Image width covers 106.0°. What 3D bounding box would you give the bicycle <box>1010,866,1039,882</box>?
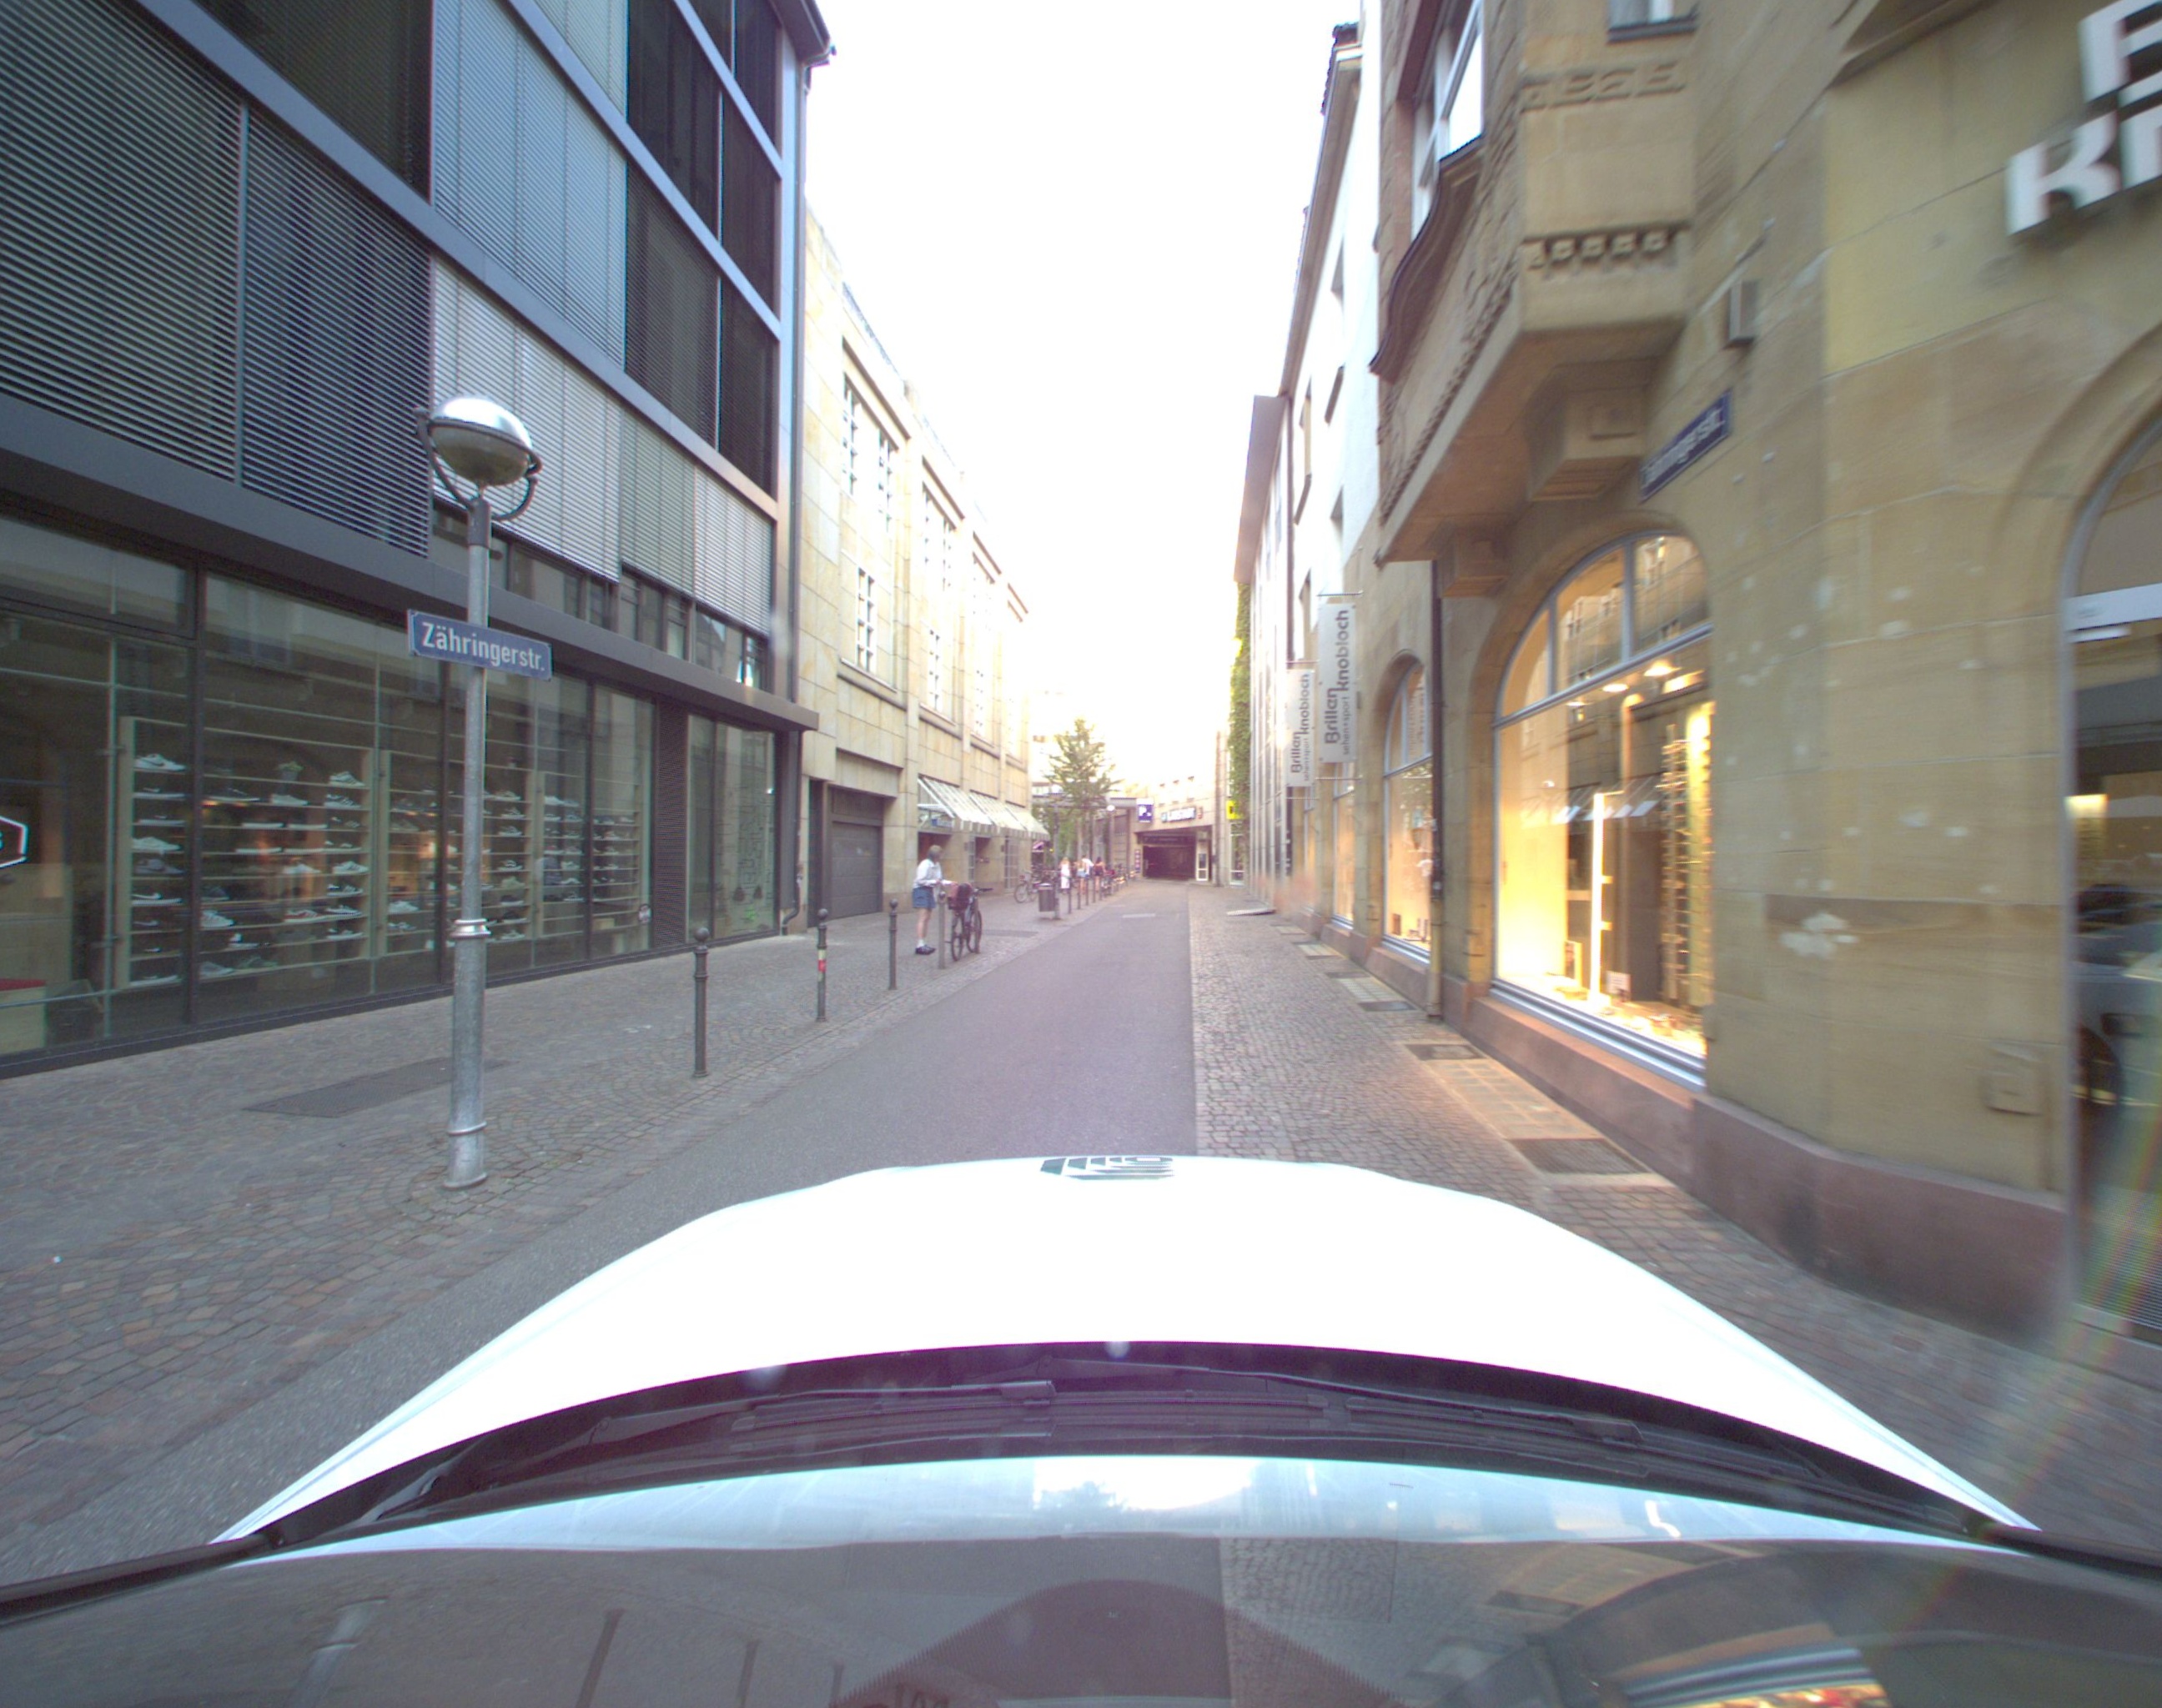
[{"bbox_3d":[-3.667,1.287,52.897,1.828,1.043,0.531,-1,0,-16],"label":"bicycle"}]

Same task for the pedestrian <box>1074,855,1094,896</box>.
[{"bbox_3d":[0.128,0.928,35.432,0.802,1.729,0.950,0,0,5],"label":"pedestrian"}]

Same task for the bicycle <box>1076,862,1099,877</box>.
[{"bbox_3d":[0.489,1.144,59.187,1.541,1.049,0.573,-1,0,-14],"label":"bicycle"}]

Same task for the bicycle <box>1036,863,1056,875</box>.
[{"bbox_3d":[-3.171,1.355,73.607,1.774,1.114,0.541,-1,0,-11],"label":"bicycle"}]

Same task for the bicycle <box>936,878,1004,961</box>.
[{"bbox_3d":[-1.725,0.995,12.948,0.530,1.153,1.919,2,0,8],"label":"bicycle"}]

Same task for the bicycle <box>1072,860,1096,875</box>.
[{"bbox_3d":[0.238,1.066,62.879,1.776,1.114,0.540,-1,0,-14],"label":"bicycle"}]

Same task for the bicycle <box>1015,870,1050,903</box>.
[{"bbox_3d":[-1.747,1.151,29.373,0.517,1.138,1.774,-1,0,23],"label":"bicycle"}]

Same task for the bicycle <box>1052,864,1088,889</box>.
[{"bbox_3d":[-0.572,1.179,42.608,1.770,1.231,0.531,-1,0,-16],"label":"bicycle"}]

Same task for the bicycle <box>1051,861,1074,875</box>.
[{"bbox_3d":[-1.525,1.146,67.607,1.776,1.114,0.540,-1,0,-14],"label":"bicycle"}]

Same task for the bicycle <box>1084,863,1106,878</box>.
[{"bbox_3d":[0.997,1.202,58.146,1.541,1.049,0.573,-1,0,-14],"label":"bicycle"}]

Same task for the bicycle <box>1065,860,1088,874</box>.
[{"bbox_3d":[-0.367,1.053,65.206,1.776,1.114,0.540,-1,0,-14],"label":"bicycle"}]

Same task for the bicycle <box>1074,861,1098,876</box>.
[{"bbox_3d":[0.395,1.099,61.789,1.776,1.114,0.540,-1,0,-14],"label":"bicycle"}]

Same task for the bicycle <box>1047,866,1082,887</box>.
[{"bbox_3d":[-0.905,1.234,44.832,1.840,1.122,0.531,-1,0,-16],"label":"bicycle"}]

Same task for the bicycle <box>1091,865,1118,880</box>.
[{"bbox_3d":[1.632,1.273,56.230,1.850,0.982,0.461,-1,0,-14],"label":"bicycle"}]

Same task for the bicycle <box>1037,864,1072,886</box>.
[{"bbox_3d":[-1.513,1.168,45.861,1.876,1.177,0.531,-1,0,-16],"label":"bicycle"}]

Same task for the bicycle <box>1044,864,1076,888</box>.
[{"bbox_3d":[-1.127,1.182,43.958,1.657,1.231,0.531,-1,0,-16],"label":"bicycle"}]

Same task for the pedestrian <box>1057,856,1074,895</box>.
[{"bbox_3d":[-0.675,0.929,35.577,0.671,1.664,0.861,0,0,5],"label":"pedestrian"}]

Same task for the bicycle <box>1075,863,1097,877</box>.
[{"bbox_3d":[0.353,1.174,60.610,1.541,1.049,0.573,-1,0,-14],"label":"bicycle"}]

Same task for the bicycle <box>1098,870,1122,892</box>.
[{"bbox_3d":[1.276,1.176,35.908,0.488,0.939,1.668,1,0,22],"label":"bicycle"}]

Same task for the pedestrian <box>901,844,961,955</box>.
[{"bbox_3d":[-2.418,0.716,13.160,0.764,1.718,0.593,2,0,6],"label":"pedestrian"}]

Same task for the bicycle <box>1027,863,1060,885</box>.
[{"bbox_3d":[-2.158,1.154,47.146,1.837,1.225,0.531,-1,0,-16],"label":"bicycle"}]

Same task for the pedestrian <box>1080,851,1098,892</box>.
[{"bbox_3d":[0.355,0.803,36.939,0.738,1.822,0.879,-1,0,5],"label":"pedestrian"}]

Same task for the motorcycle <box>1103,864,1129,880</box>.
[{"bbox_3d":[2.317,1.203,54.469,1.665,1.050,0.461,-1,0,-14],"label":"motorcycle"}]

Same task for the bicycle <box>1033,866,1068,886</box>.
[{"bbox_3d":[-1.724,1.252,46.418,1.898,1.052,0.531,-1,0,-16],"label":"bicycle"}]

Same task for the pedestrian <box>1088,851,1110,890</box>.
[{"bbox_3d":[0.868,0.773,38.503,0.779,1.795,0.976,-1,0,16],"label":"pedestrian"}]

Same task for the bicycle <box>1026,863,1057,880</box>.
[{"bbox_3d":[-2.451,1.104,50.993,1.880,1.043,0.531,-1,0,-16],"label":"bicycle"}]

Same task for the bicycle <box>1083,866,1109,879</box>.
[{"bbox_3d":[1.064,1.277,57.028,1.776,0.904,0.461,-1,0,-14],"label":"bicycle"}]
